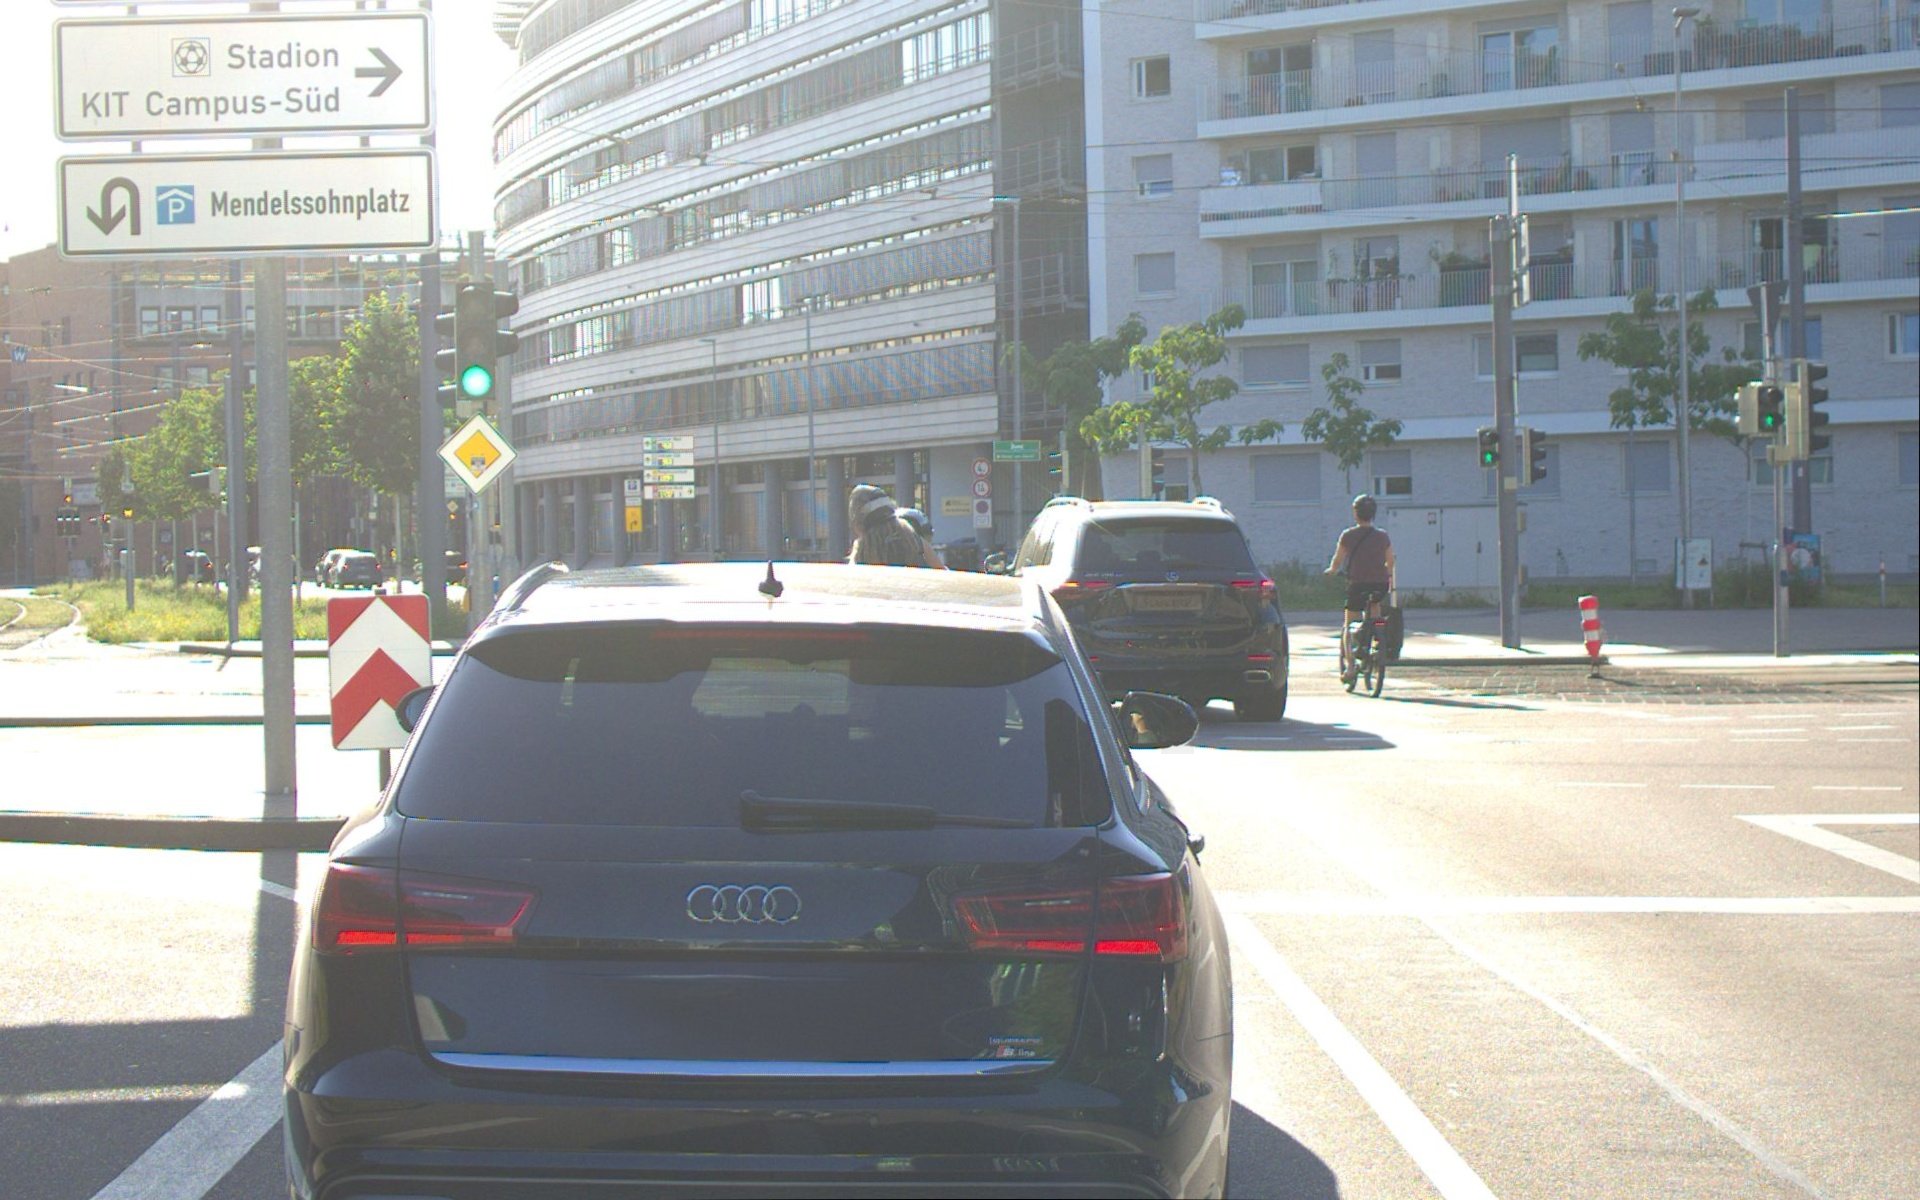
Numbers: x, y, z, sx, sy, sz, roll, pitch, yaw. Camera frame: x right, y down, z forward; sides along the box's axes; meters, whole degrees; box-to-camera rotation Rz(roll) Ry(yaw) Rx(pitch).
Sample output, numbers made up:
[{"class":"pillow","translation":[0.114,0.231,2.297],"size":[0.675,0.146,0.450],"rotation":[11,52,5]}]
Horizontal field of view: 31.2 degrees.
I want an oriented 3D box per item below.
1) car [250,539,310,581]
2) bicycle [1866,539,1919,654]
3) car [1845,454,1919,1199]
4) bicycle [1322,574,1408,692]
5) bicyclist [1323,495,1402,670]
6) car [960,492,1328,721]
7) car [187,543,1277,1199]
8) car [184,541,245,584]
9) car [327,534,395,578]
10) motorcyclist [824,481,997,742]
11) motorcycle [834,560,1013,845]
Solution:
[{"class":"car","translation":[-27.396,-1.603,138.380],"size":[1.993,1.590,4.001],"rotation":[-2,0,-16]},{"class":"bicycle","translation":[10.914,-0.041,37.994],"size":[0.766,1.258,2.082],"rotation":[-1,1,-16]},{"class":"car","translation":[2.602,0.626,4.478],"size":[1.746,1.690,4.261],"rotation":[1,1,0]},{"class":"bicycle","translation":[3.844,0.298,32.755],"size":[0.654,1.039,1.929],"rotation":[-1,2,2]},{"class":"bicyclist","translation":[3.827,-0.180,32.741],"size":[0.654,1.637,0.972],"rotation":[-1,1,2]},{"class":"car","translation":[1.389,-0.002,27.969],"size":[2.002,1.709,4.374],"rotation":[0,1,-10]},{"class":"car","translation":[-0.429,0.622,7.855],"size":[1.842,1.449,4.000],"rotation":[1,1,-1]},{"class":"car","translation":[-31.120,-1.560,143.538],"size":[1.993,1.700,4.001],"rotation":[-2,0,-19]},{"class":"car","translation":[-23.706,-1.730,135.966],"size":[1.993,1.590,4.001],"rotation":[-2,0,-19]},{"class":"motorcyclist","translation":[-0.265,0.051,17.911],"size":[0.862,1.322,0.681],"rotation":[-1,1,-2]},{"class":"motorcycle","translation":[-0.214,0.494,17.956],"size":[0.862,1.388,1.894],"rotation":[-1,1,-2]}]
